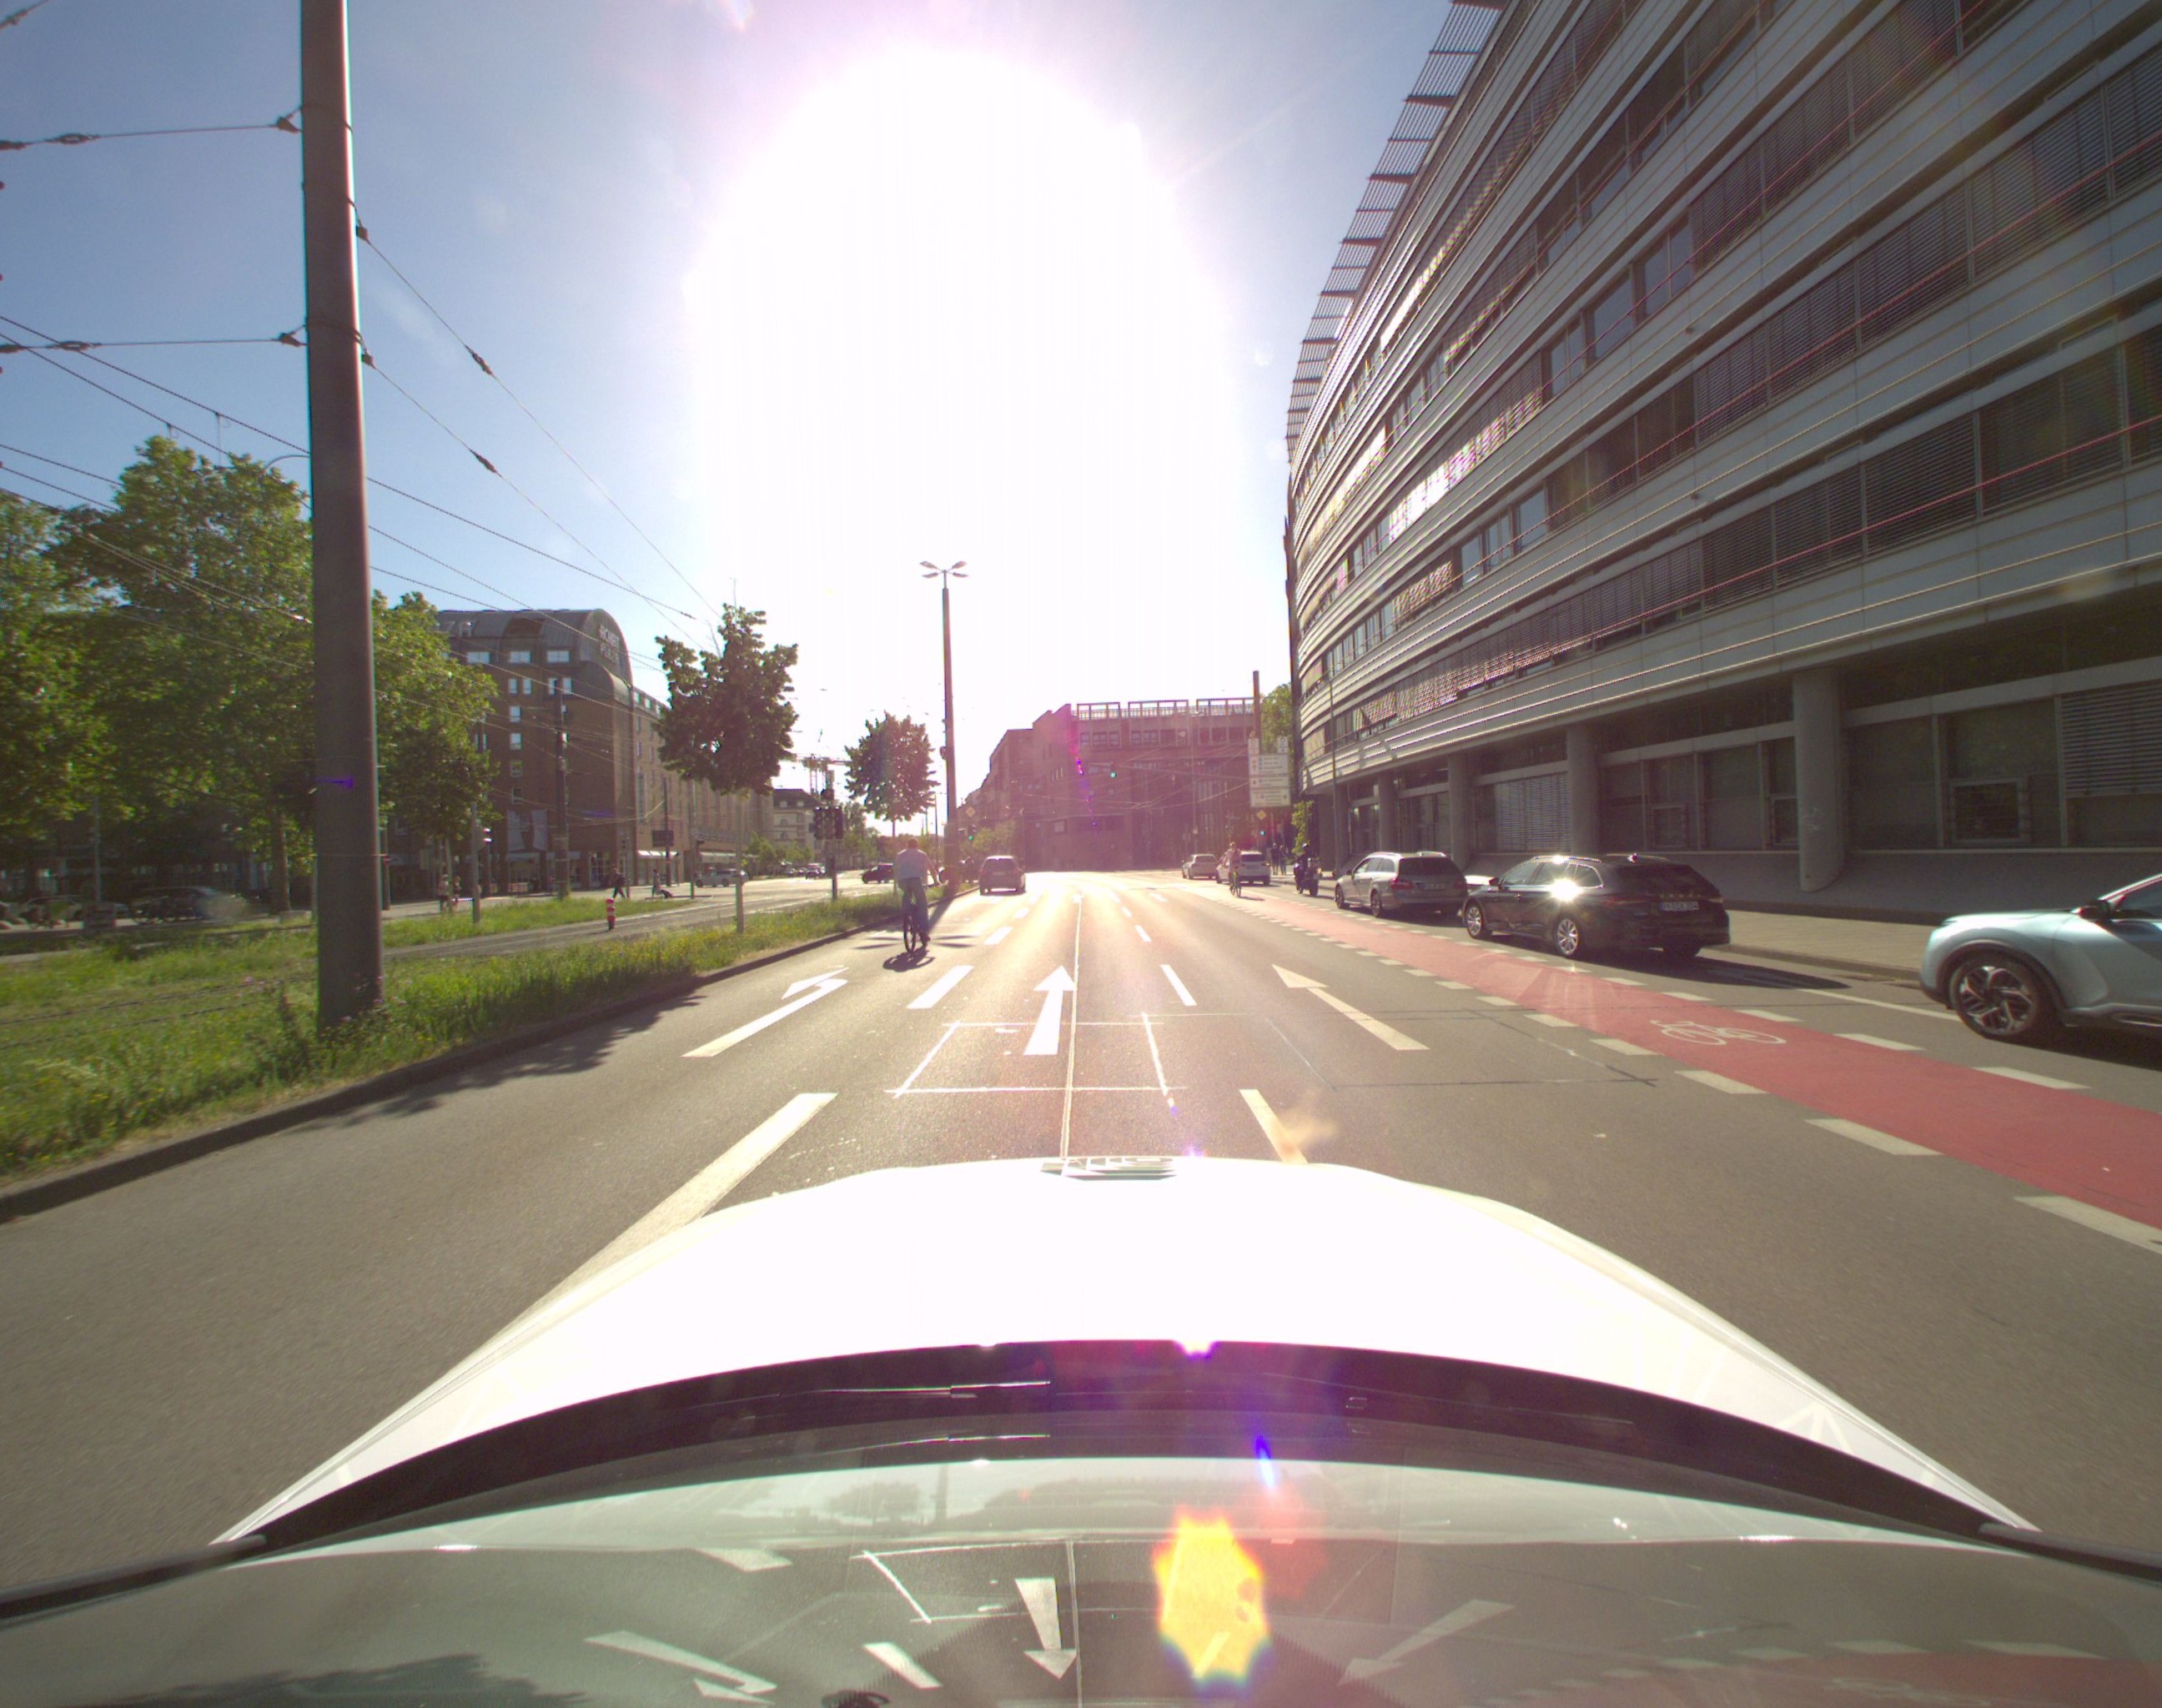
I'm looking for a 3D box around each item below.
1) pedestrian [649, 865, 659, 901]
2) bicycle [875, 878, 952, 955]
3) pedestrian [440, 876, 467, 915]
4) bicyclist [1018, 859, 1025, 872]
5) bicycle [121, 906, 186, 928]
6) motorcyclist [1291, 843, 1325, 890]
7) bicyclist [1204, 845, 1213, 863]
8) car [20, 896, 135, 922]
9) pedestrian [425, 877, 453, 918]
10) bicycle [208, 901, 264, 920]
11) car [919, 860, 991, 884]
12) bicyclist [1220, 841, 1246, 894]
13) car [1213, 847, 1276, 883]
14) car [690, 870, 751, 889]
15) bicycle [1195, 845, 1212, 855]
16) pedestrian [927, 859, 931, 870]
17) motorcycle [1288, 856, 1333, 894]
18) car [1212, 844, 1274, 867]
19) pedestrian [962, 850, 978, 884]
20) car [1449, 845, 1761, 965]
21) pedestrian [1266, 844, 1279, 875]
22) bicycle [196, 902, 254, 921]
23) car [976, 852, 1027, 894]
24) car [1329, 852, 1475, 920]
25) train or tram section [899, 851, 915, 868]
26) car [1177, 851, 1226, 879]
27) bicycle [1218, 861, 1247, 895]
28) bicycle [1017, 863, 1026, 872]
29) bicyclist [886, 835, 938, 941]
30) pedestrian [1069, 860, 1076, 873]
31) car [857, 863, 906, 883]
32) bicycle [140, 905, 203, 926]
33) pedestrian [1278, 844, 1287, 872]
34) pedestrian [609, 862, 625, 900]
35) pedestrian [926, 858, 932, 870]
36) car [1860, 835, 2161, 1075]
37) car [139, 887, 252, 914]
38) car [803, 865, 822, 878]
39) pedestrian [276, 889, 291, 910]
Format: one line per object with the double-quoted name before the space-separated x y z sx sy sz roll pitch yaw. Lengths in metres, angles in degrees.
"pedestrian" -22.062 1.500 42.084 0.388 1.831 0.459 -2 0 -32
"bicycle" -2.747 0.983 13.644 0.684 1.069 2.697 -1 0 1
"pedestrian" -30.098 1.977 39.047 0.756 1.831 0.626 -2 0 9
"bicyclist" -6.567 1.266 90.246 0.593 1.335 0.929 -2 -1 -14
"bicycle" -39.287 2.656 34.501 2.024 0.799 0.374 -2 0 -10
"motorcyclist" 7.645 0.415 27.466 0.826 1.561 0.941 -1 -1 -1
"bicyclist" 13.766 0.022 87.754 0.608 1.884 0.646 -2 -1 -20
"car" -54.996 3.022 44.679 3.976 1.143 1.781 -2 0 -2
"pedestrian" -30.118 2.037 38.198 0.757 1.831 0.625 -2 0 5
"bicycle" -40.845 2.728 39.387 2.024 0.799 0.374 -2 0 -10
"car" -8.459 1.207 54.668 4.465 1.449 1.742 -2 0 25
"bicyclist" 5.282 0.453 28.267 0.647 1.752 1.045 -2 1 0
"car" 7.489 0.461 37.653 1.902 1.583 4.133 0 0 -3
"car" -30.506 2.143 68.945 4.363 1.381 2.076 -2 0 17
"bicycle" 13.157 -0.389 87.599 1.675 0.994 0.668 -2 -1 -21
"pedestrian" -22.710 1.562 121.649 0.539 1.655 0.703 -2 -1 -15
"motorcycle" 7.709 0.697 27.457 0.826 1.201 2.389 -1 -1 0
"car" 11.704 0.108 58.807 3.992 1.583 1.904 0 1 -14
"pedestrian" -5.816 0.670 42.656 0.670 1.753 0.766 -2 0 -13
"car" 7.605 0.641 12.508 1.716 1.422 4.635 -2 0 -1
"pedestrian" 11.221 0.311 47.685 0.634 1.798 0.610 -3 1 10
"bicycle" -40.058 2.692 38.127 2.024 0.799 0.374 -2 0 -10
"car" -3.249 0.744 33.942 1.721 1.564 3.676 -2 0 -1
"car" 7.629 0.684 19.925 1.715 1.396 4.788 -2 0 1
"train or tram section" -34.167 1.042 160.067 2.326 3.003 13.116 -2 0 -9
"car" 7.036 0.629 47.839 1.903 1.541 4.130 0 0 -5
"bicycle" 5.296 0.819 28.619 0.647 1.110 1.758 -2 1 0
"bicycle" -6.605 1.518 90.470 0.604 0.985 2.303 -2 -1 -14
"bicyclist" -2.754 0.536 13.356 0.615 1.669 1.020 -1 0 0
"pedestrian" -1.027 1.468 97.172 0.619 1.563 0.982 -2 -1 -15
"car" -15.527 1.483 63.397 3.538 1.449 1.669 -2 0 32
"bicycle" -39.827 2.682 35.664 2.024 0.799 0.374 -2 0 -10
"pedestrian" 11.802 0.228 47.675 0.424 1.645 0.564 -3 1 12
"pedestrian" -22.624 1.321 39.707 0.585 1.831 0.492 -2 0 -38
"pedestrian" -23.397 1.522 125.170 0.721 1.735 0.596 -2 -1 -31
"car" 7.815 0.641 5.073 1.716 1.524 4.399 -2 0 0
"car" -49.222 2.592 45.318 3.976 1.231 1.999 -2 0 -2
"car" -33.482 2.138 101.622 1.611 1.398 3.903 -6 1 -12
"pedestrian" -76.190 4.362 77.824 0.558 1.932 0.830 -2 -1 -9
